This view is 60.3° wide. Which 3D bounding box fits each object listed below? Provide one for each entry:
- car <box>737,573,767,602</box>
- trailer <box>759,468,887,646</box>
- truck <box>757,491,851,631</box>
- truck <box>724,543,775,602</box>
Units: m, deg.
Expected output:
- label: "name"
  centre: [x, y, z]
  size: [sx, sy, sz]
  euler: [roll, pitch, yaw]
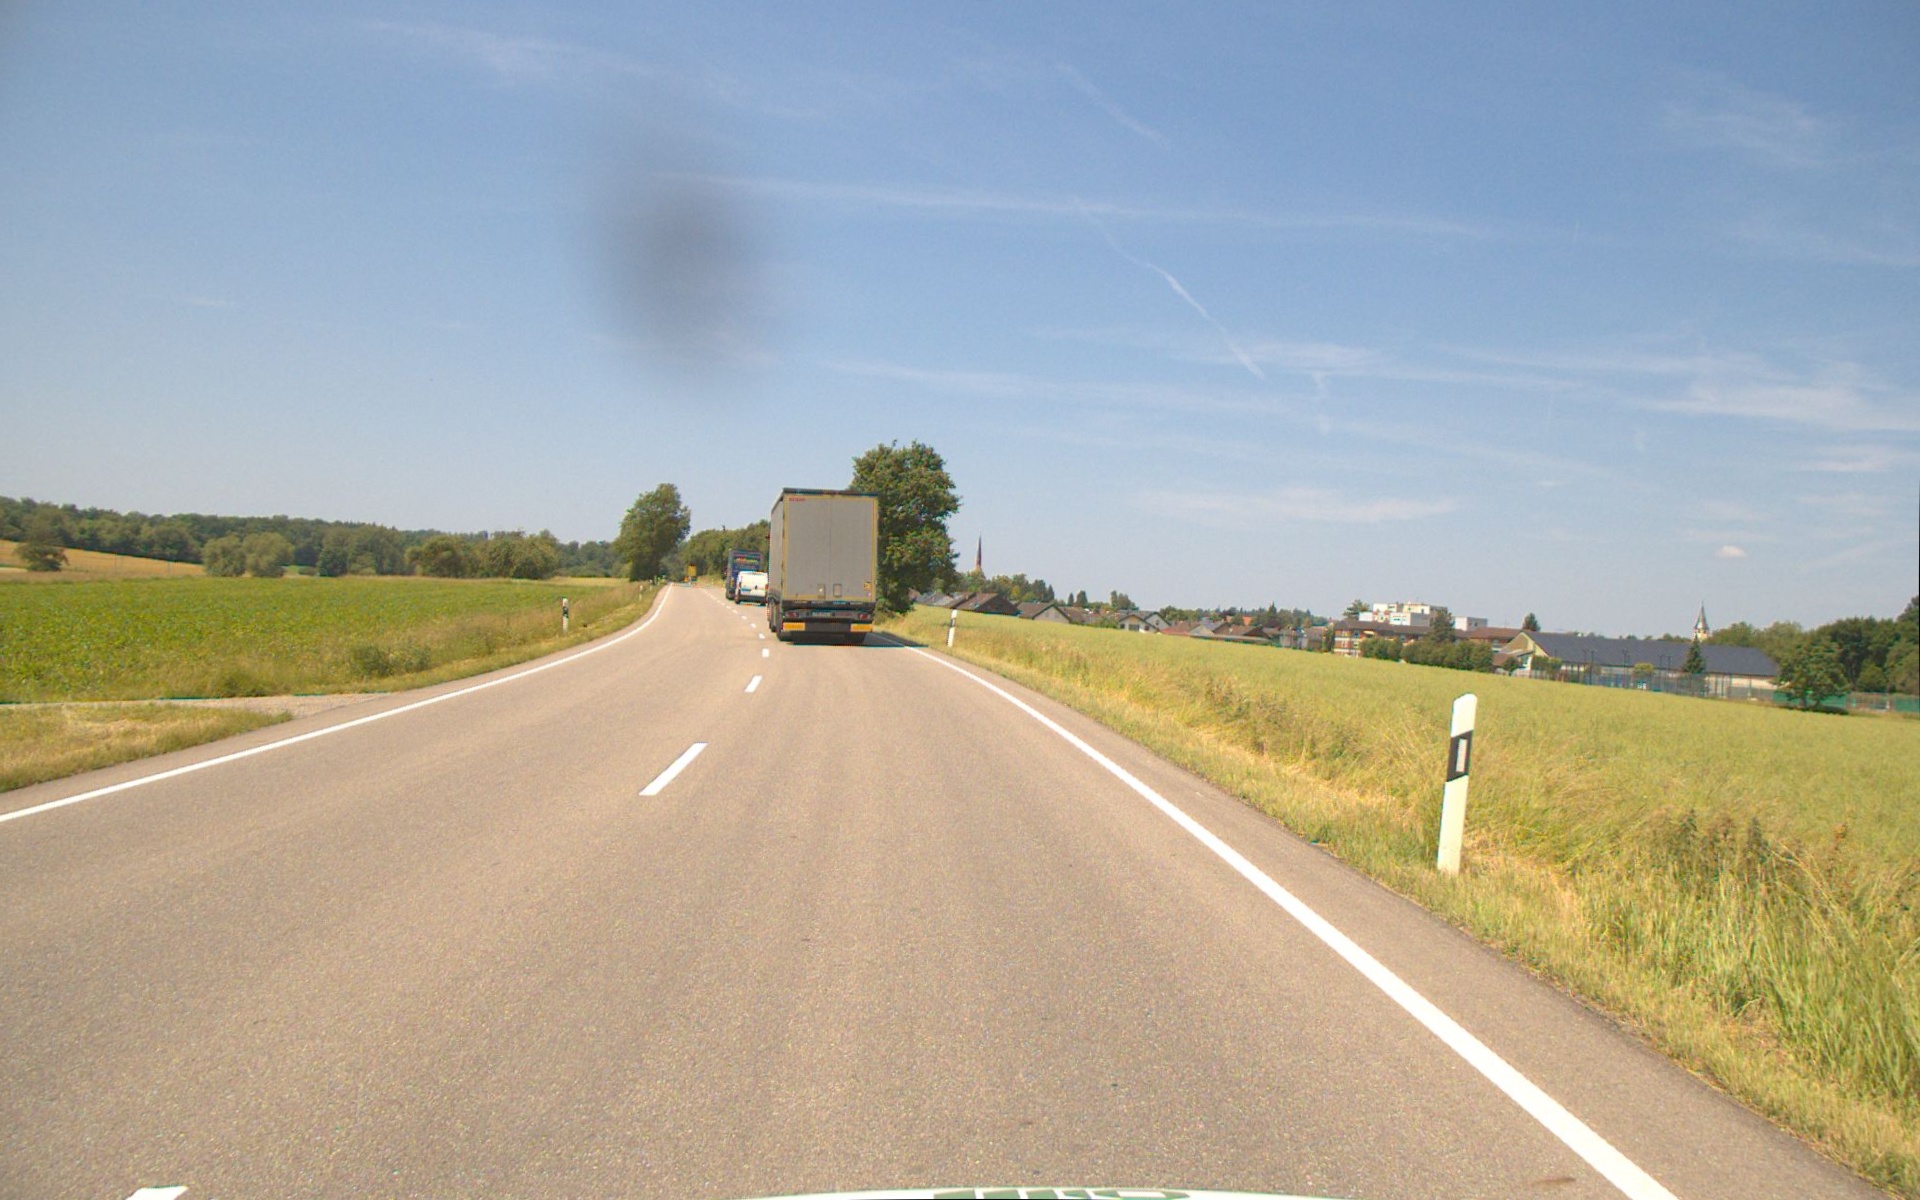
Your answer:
- label: "car"
  centre: [-14.409, -0.863, 114.527]
  size: [1.691, 1.905, 3.998]
  euler: [1, 0, -2]
- label: "trailer"
  centre: [-4.326, -1.188, 49.220]
  size: [2.814, 4.477, 13.467]
  euler: [1, 1, -8]
- label: "truck"
  centre: [-5.378, -1.281, 56.219]
  size: [2.806, 4.477, 5.061]
  euler: [1, 0, -9]
- label: "truck"
  centre: [-17.520, -2.210, 138.636]
  size: [3.480, 4.469, 18.101]
  euler: [2, 0, -5]
